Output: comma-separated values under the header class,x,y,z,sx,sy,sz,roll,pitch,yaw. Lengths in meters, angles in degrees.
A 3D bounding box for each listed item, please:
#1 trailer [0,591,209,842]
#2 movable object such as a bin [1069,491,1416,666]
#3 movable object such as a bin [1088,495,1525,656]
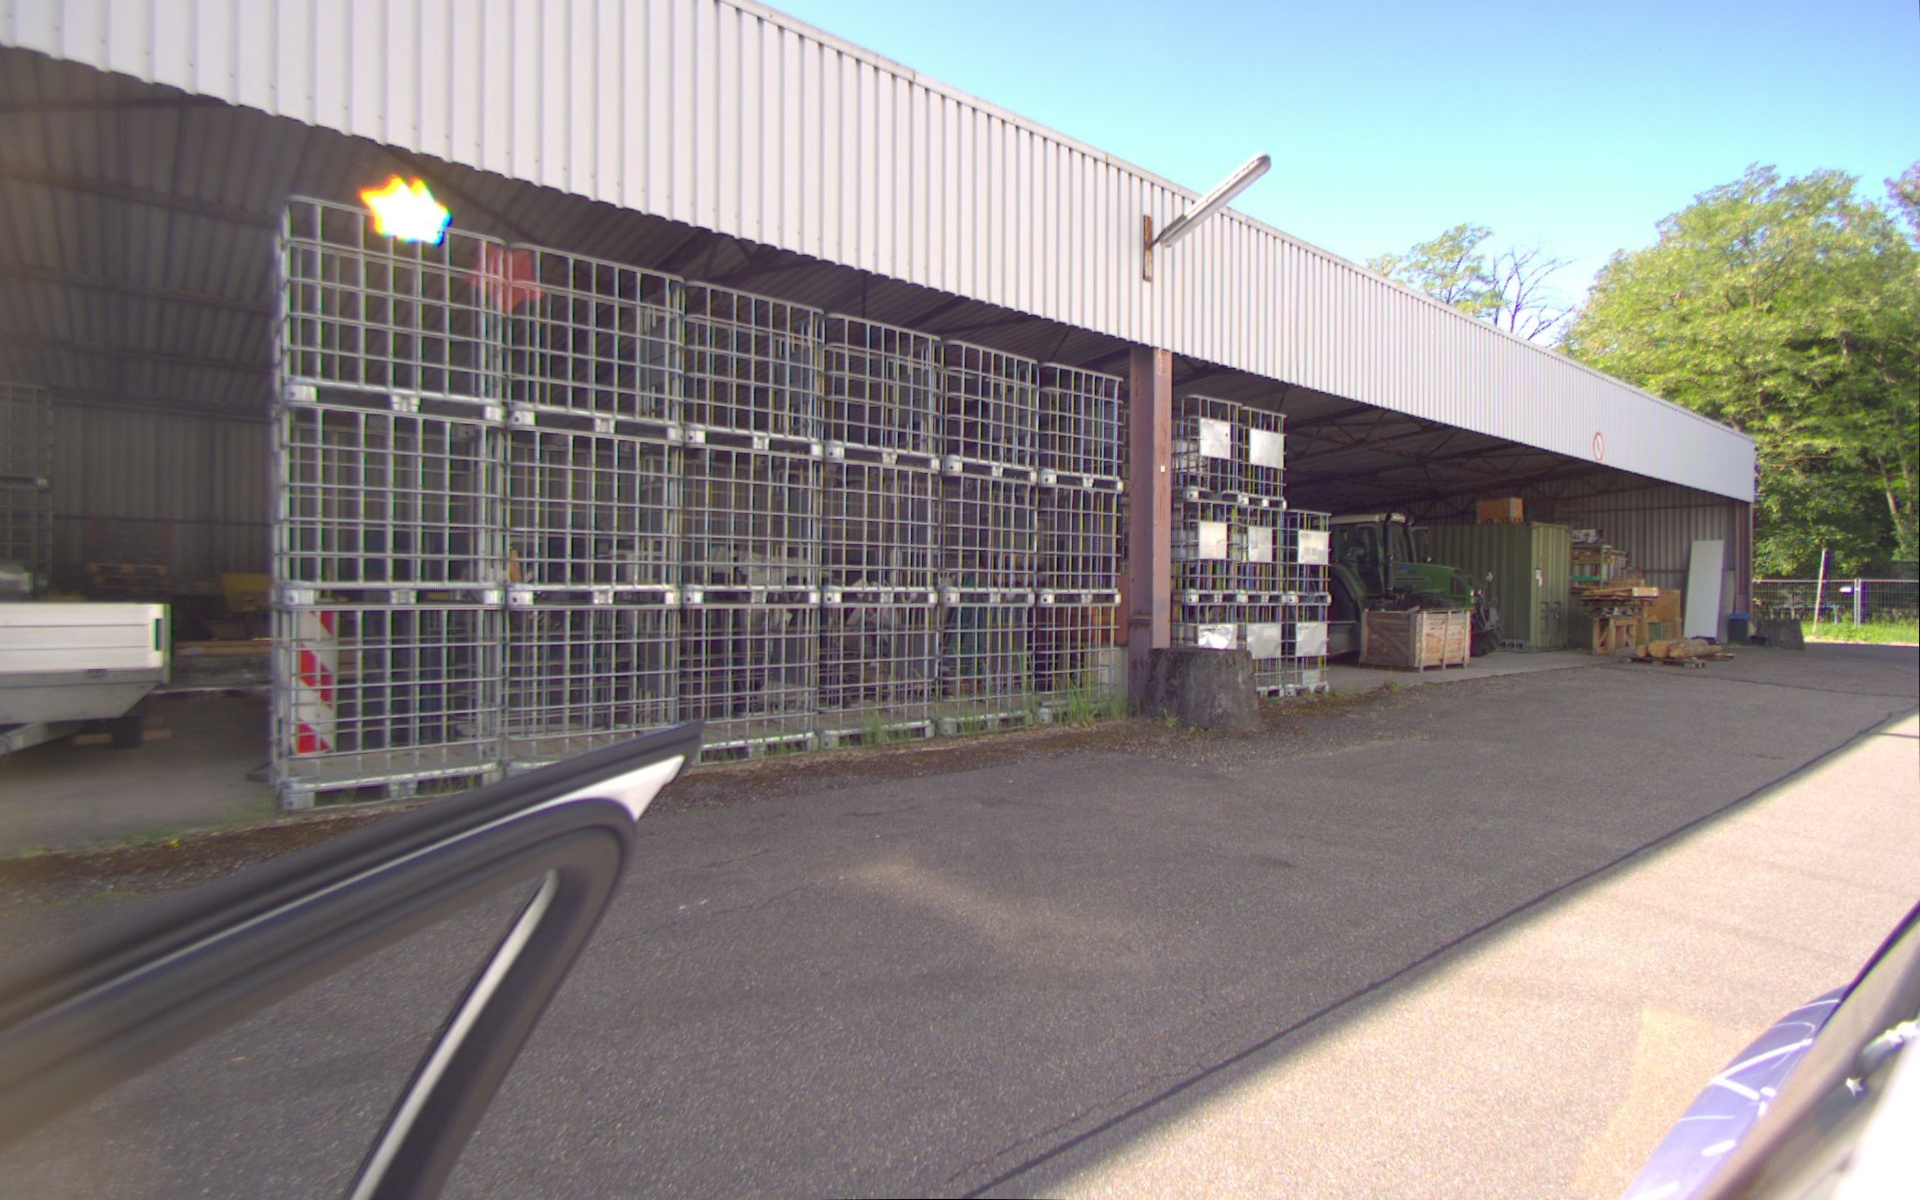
class,x,y,z,sx,sy,sz,roll,pitch,yaw
trailer,-6.753,0.547,6.934,2.104,1.147,5.857,0,1,-41
movable object such as a bin,5.429,-0.397,20.378,2.962,2.947,6.199,0,0,-39
movable object such as a bin,7.366,-0.488,23.126,3.154,2.947,9.213,0,0,-39
